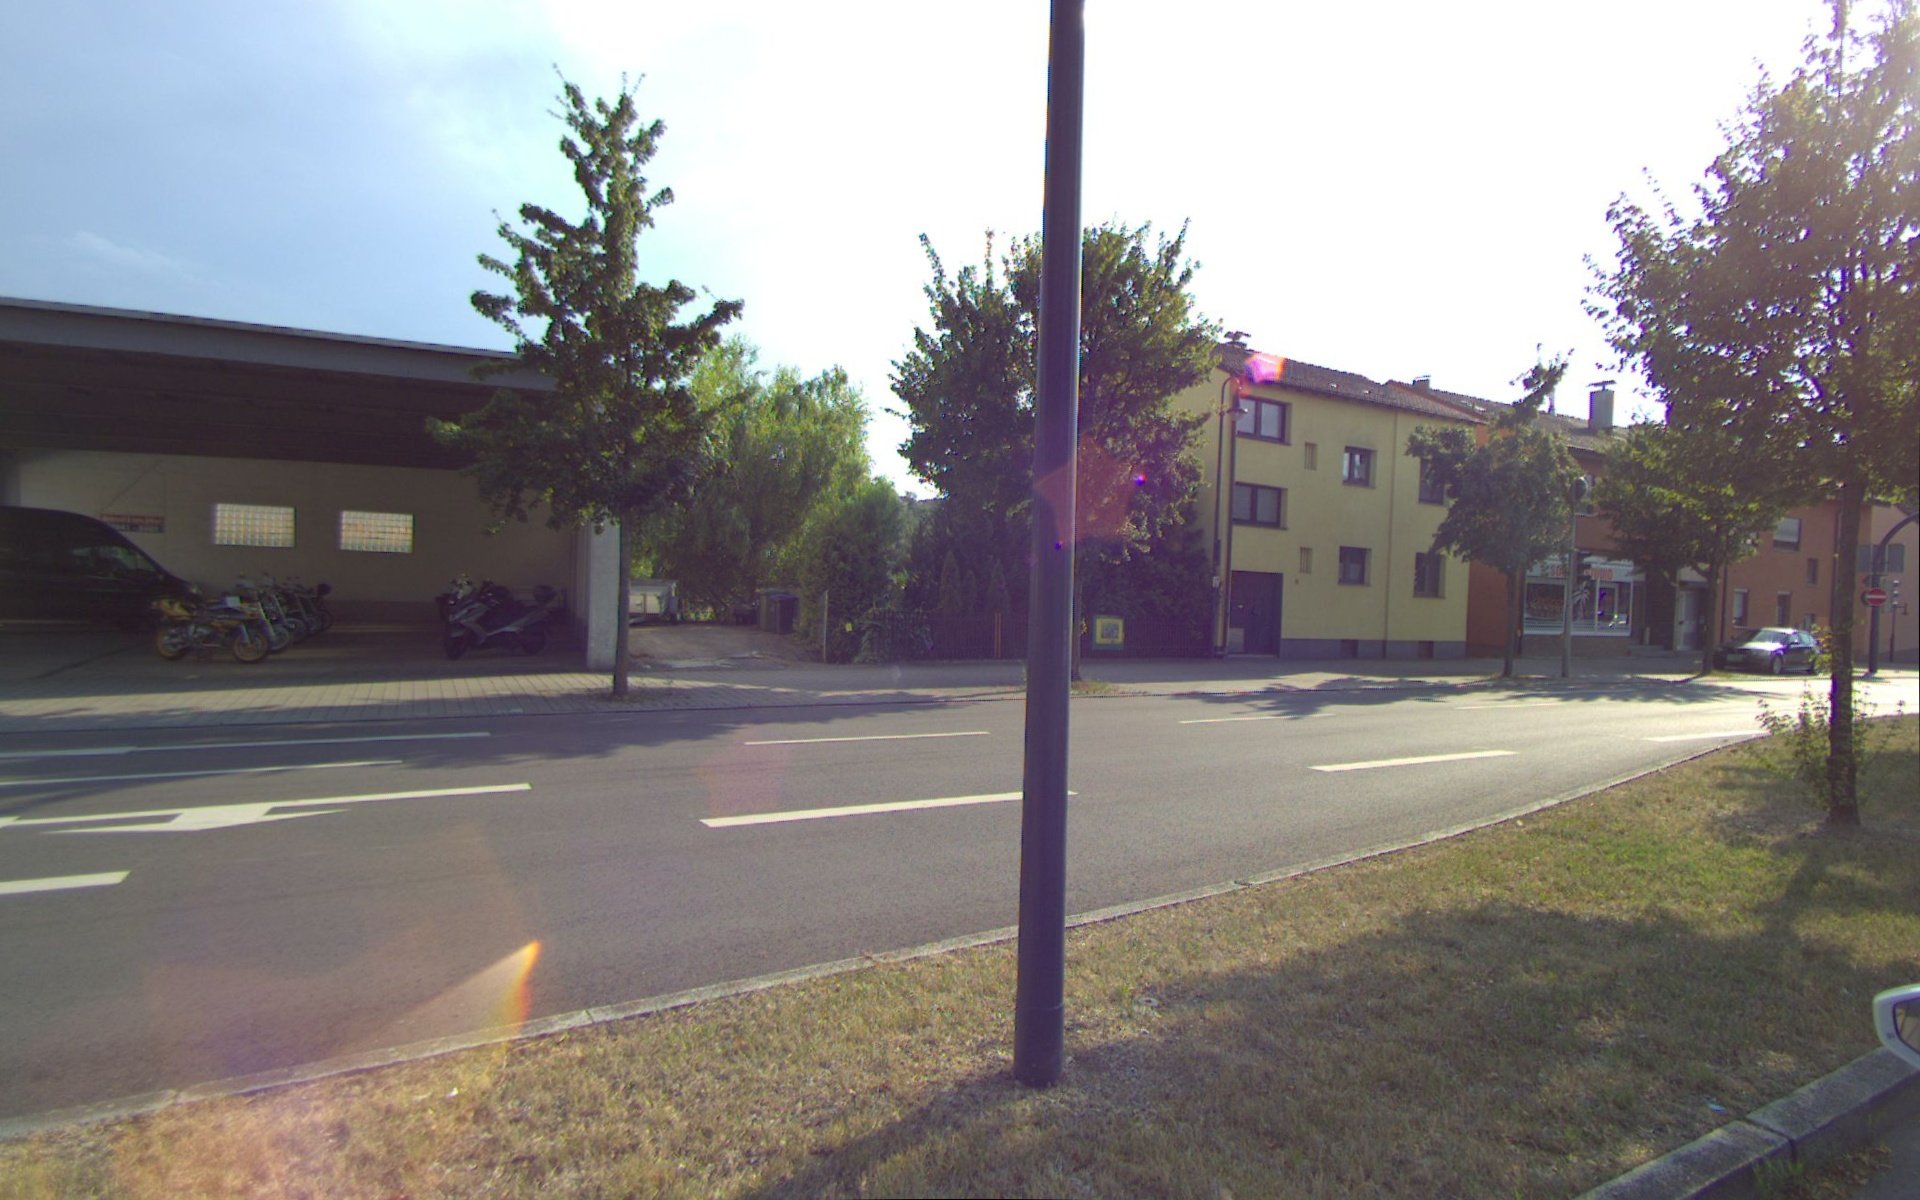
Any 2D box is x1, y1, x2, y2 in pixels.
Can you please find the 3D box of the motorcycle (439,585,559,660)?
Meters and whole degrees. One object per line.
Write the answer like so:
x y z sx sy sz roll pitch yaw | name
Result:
-8.635 0.416 18.910 0.553 1.325 2.112 1 0 30 | motorcycle

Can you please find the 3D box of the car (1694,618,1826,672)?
25.992 1.445 32.632 3.949 1.573 1.836 1 2 -27 | car

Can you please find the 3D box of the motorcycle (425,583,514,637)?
-12.564 0.270 25.811 0.553 1.325 2.086 1 0 30 | motorcycle

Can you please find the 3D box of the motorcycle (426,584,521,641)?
-11.808 0.309 24.449 0.573 1.325 2.086 1 0 30 | motorcycle

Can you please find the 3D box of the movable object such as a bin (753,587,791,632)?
-4.788 0.237 25.581 0.712 1.101 0.727 1 3 -30 | movable object such as a bin

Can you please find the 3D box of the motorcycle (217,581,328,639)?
-15.838 0.222 23.169 2.111 1.275 0.647 1 0 0 | motorcycle

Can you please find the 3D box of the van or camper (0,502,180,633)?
-20.486 -0.679 21.958 1.963 2.716 5.032 1 0 27 | van or camper

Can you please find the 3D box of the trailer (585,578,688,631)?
-8.122 0.065 25.516 1.692 1.199 3.594 1 1 -5 | trailer

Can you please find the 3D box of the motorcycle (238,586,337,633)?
-17.075 0.234 25.517 2.111 1.138 0.563 1 0 0 | motorcycle

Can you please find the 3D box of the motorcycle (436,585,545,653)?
-9.673 0.392 20.771 0.553 1.325 2.086 1 0 30 | motorcycle

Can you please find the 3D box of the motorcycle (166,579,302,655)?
-13.553 0.321 18.766 2.111 1.347 0.563 1 0 0 | motorcycle

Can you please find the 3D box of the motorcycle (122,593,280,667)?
-12.515 0.488 16.588 2.111 1.139 0.631 1 0 0 | motorcycle

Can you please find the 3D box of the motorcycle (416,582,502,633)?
-13.517 0.205 27.159 0.553 1.325 2.086 1 0 30 | motorcycle

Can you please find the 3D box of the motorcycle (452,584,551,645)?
-10.485 0.336 23.037 0.612 1.325 2.086 1 0 30 | motorcycle

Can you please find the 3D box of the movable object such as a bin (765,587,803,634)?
-4.347 0.266 24.809 0.688 1.101 0.727 1 3 -30 | movable object such as a bin

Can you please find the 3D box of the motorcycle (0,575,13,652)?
-17.248 0.217 16.761 0.637 1.329 2.007 1 0 23 | motorcycle

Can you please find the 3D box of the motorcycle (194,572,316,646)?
-14.717 0.187 20.998 2.111 1.468 0.594 1 0 0 | motorcycle

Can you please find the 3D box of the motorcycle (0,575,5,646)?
-18.643 0.184 18.089 0.637 1.329 2.007 1 0 23 | motorcycle
